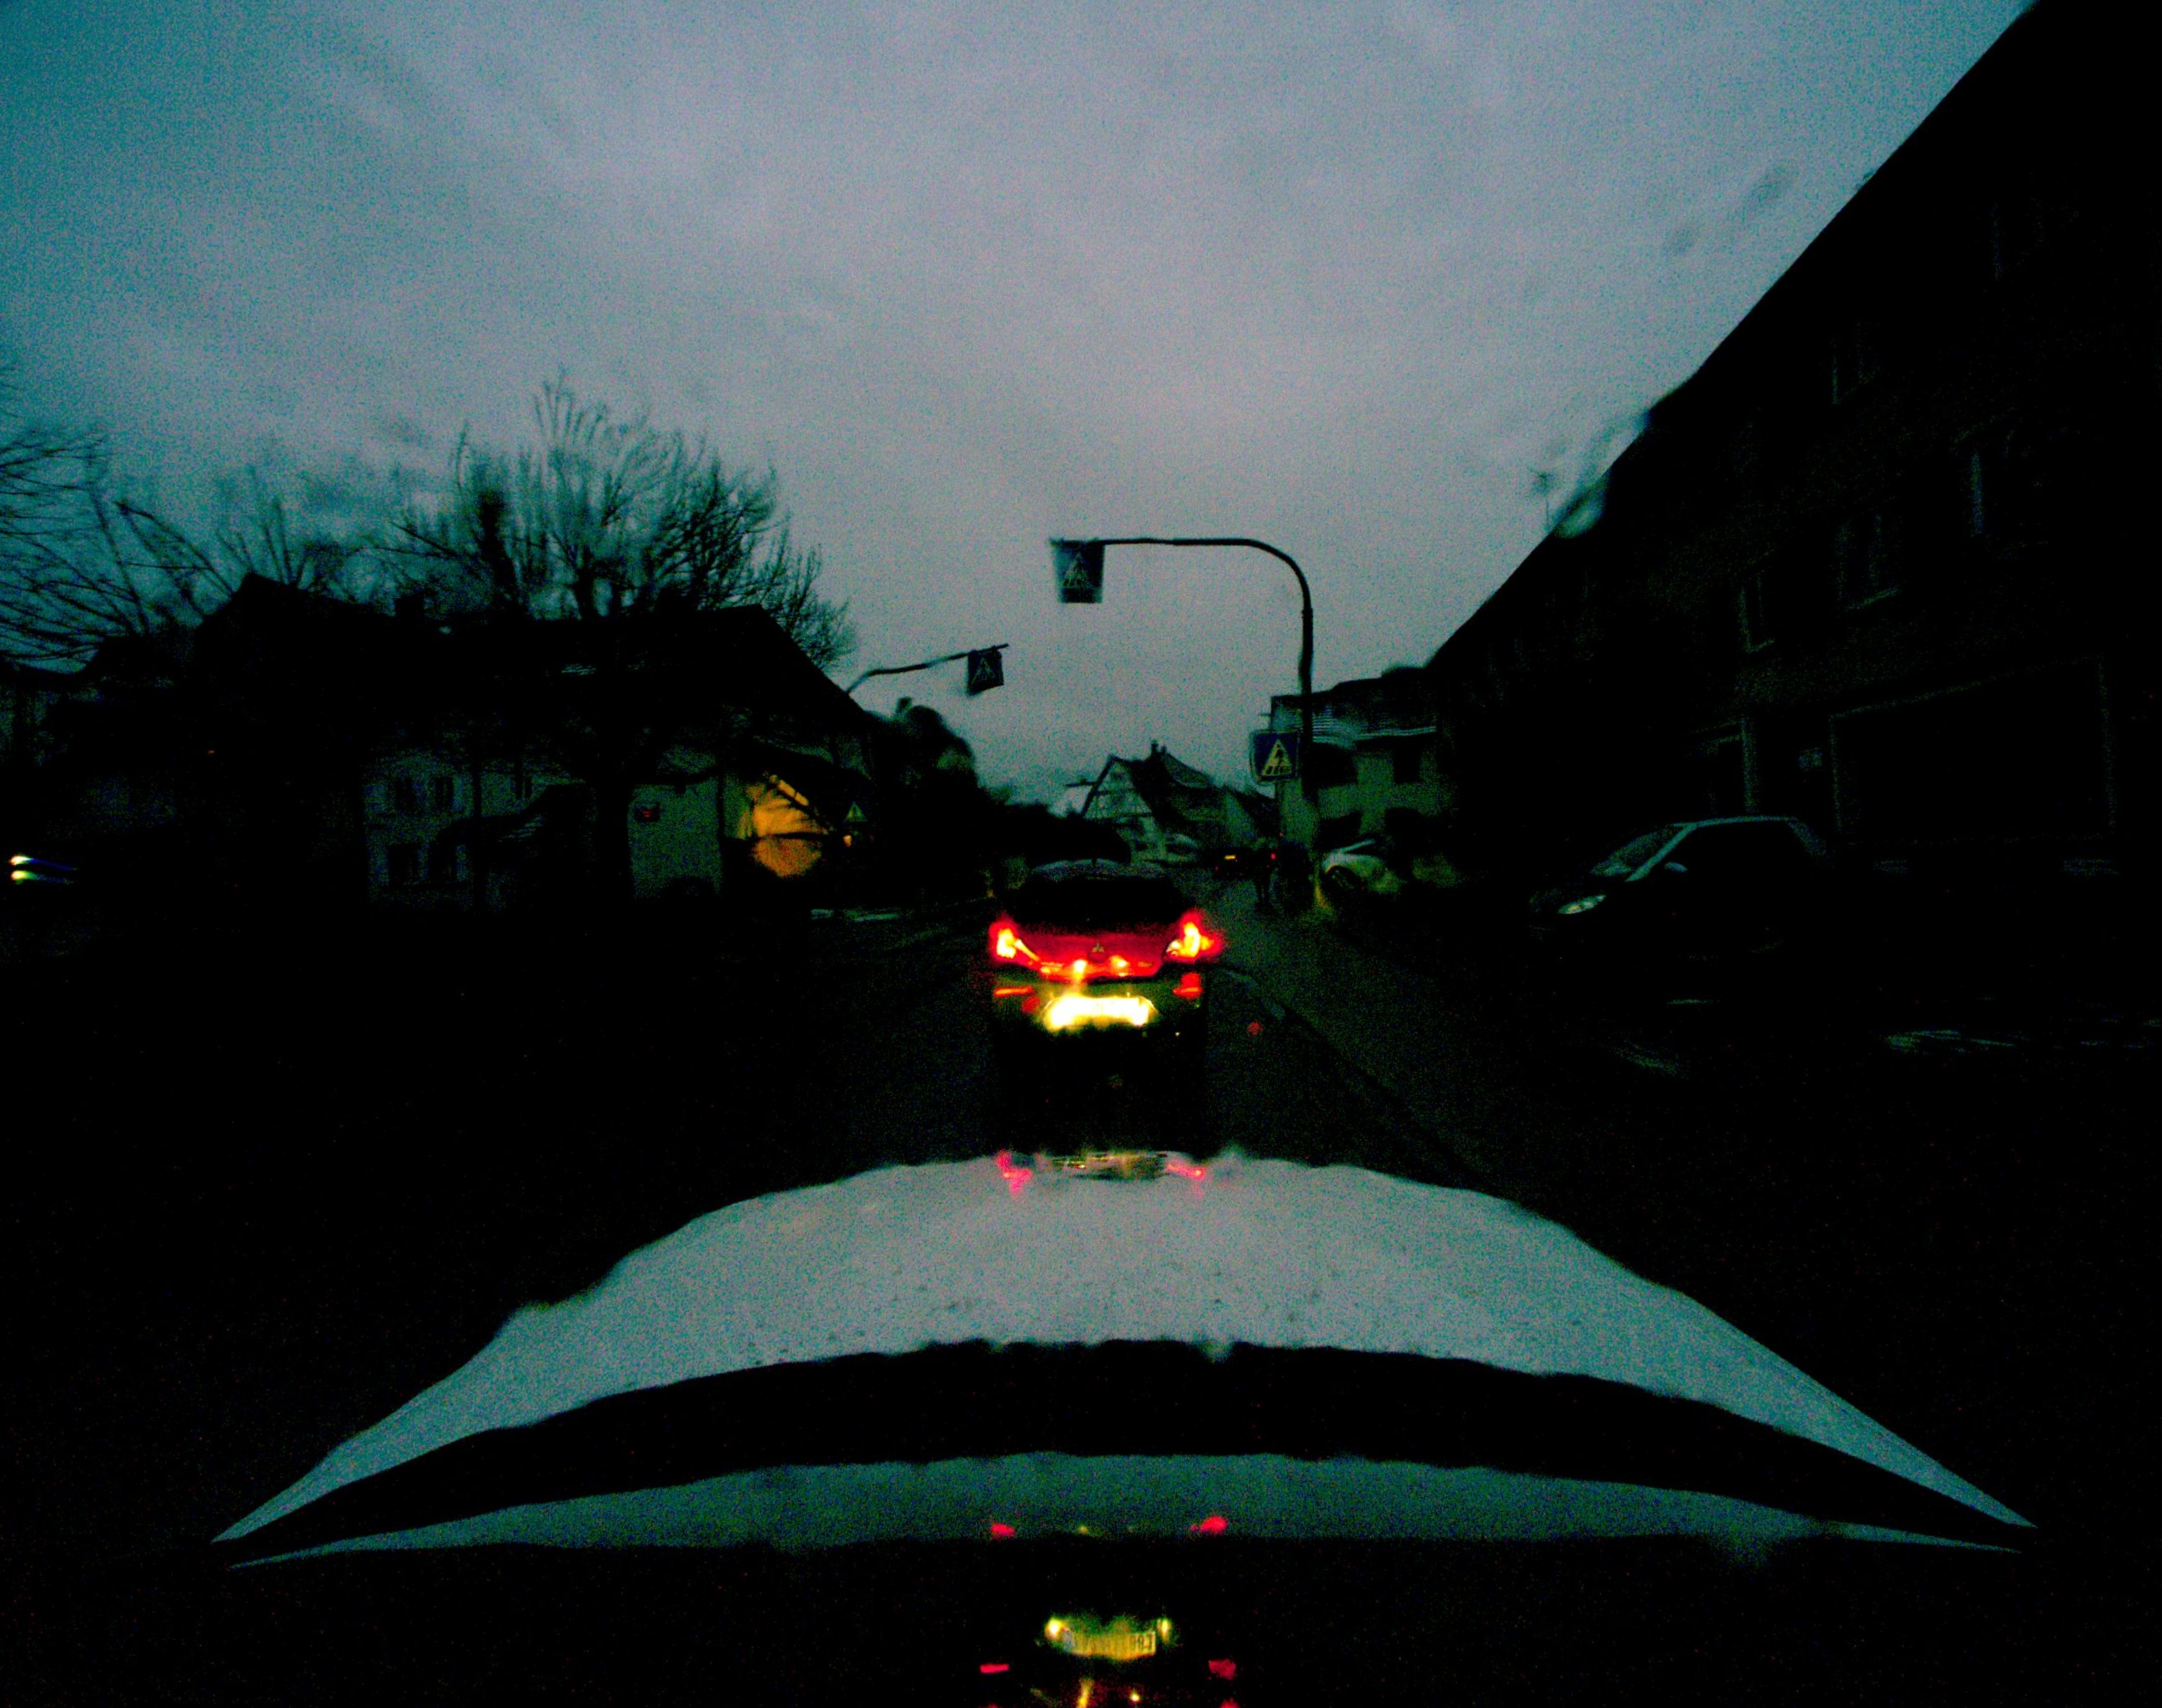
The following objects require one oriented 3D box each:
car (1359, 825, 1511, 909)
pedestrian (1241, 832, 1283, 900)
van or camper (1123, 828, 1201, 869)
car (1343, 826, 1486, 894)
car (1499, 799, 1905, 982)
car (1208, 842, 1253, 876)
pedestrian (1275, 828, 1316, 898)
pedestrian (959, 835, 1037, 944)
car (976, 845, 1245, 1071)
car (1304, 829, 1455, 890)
[{"bbox_3d":[7.400,0.262,17.226,2.568,1.547,1.555,-4,0,8],"label":"car"},{"bbox_3d":[4.769,0.303,21.392,0.860,1.666,0.996,-5,0,16],"label":"pedestrian"},{"bbox_3d":[7.043,-0.476,70.801,6.006,2.955,2.420,-5,-1,24],"label":"van or camper"},{"bbox_3d":[8.363,0.149,20.651,3.044,1.474,1.554,-4,0,11],"label":"car"},{"bbox_3d":[5.824,0.339,7.939,2.747,1.474,1.430,-4,0,9],"label":"car"},{"bbox_3d":[7.972,0.239,43.156,1.833,1.637,4.354,-1,0,16],"label":"car"},{"bbox_3d":[5.577,0.223,21.164,0.842,1.733,0.976,-5,0,17],"label":"pedestrian"},{"bbox_3d":[-1.397,0.576,13.873,0.873,1.735,0.960,-5,0,17],"label":"pedestrian"},{"bbox_3d":[0.136,0.683,7.494,1.791,1.476,3.997,-1,0,-2],"label":"car"},{"bbox_3d":[8.667,0.156,23.934,3.874,1.474,1.756,-4,0,11],"label":"car"}]
